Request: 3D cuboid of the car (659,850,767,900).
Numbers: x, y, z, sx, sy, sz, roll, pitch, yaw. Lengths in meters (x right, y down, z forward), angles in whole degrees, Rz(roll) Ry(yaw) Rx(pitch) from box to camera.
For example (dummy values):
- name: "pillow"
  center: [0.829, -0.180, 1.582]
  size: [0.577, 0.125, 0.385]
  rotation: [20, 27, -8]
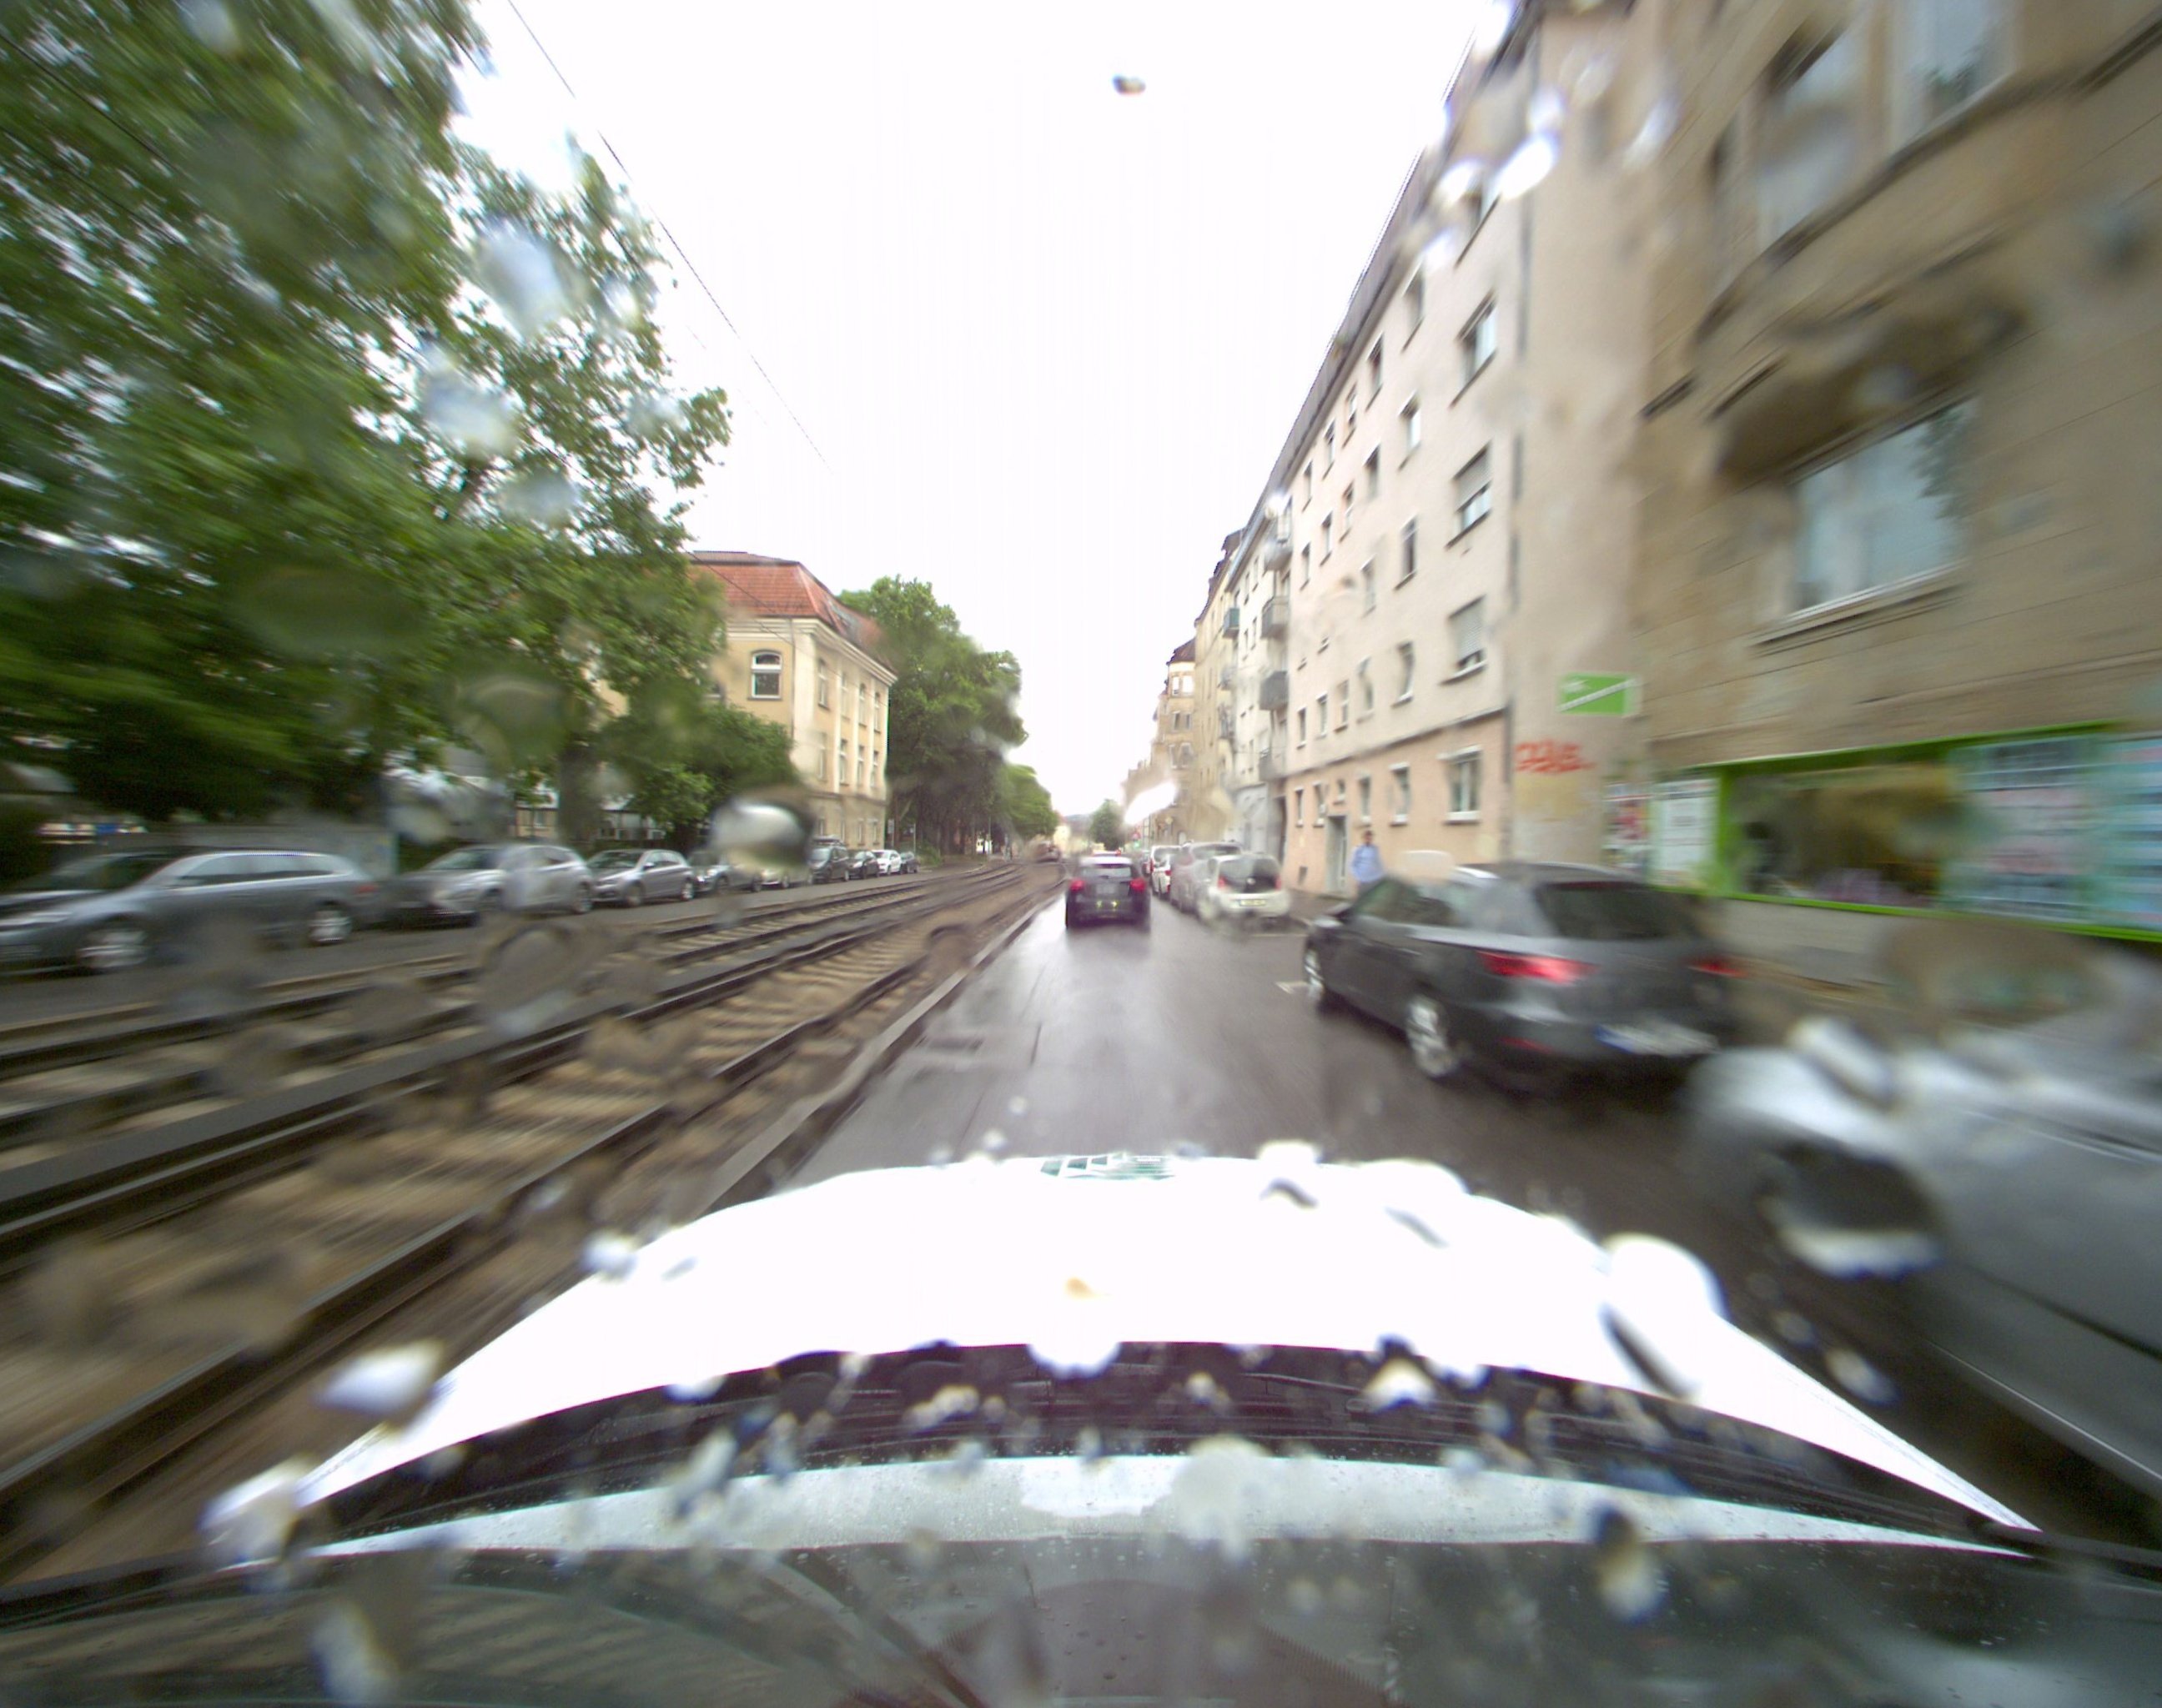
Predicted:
- name: "car"
  center: [-11.594, 0.605, 25.934]
  size: [1.534, 1.413, 3.953]
  rotation: [-2, 0, 1]

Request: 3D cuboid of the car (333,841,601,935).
- name: "car"
  center: [-11.746, 0.569, 16.076]
  size: [1.748, 1.536, 4.543]
  rotation: [-2, 0, 1]

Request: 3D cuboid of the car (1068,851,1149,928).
- name: "car"
  center: [0.578, 0.690, 17.766]
  size: [1.574, 1.504, 3.575]
  rotation: [0, 0, 1]

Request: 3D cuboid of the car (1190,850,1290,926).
- name: "car"
  center: [3.336, 0.661, 17.632]
  size: [1.564, 1.462, 3.601]
  rotation: [0, 0, 2]

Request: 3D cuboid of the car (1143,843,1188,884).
- name: "car"
  center: [3.755, 0.380, 36.687]
  size: [1.821, 1.750, 4.471]
  rotation: [0, 0, 3]

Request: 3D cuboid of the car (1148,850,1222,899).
- name: "car"
  center: [3.343, 0.604, 26.957]
  size: [1.865, 1.455, 4.903]
  rotation: [0, 0, 0]

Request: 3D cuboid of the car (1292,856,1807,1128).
- name: "car"
  center: [3.085, 0.747, 6.542]
  size: [1.664, 1.410, 4.311]
  rotation: [-1, 0, 0]

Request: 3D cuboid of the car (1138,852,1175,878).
- name: "car"
  center: [4.095, 0.567, 44.798]
  size: [1.711, 1.347, 4.462]
  rotation: [1, 0, 1]

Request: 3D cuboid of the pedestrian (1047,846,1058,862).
- name: "pedestrian"
  center: [-3.100, 0.017, 87.937]
  size: [1.050, 1.718, 0.905]
  rotation: [1, 0, 3]

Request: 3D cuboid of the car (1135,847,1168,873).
- name: "car"
  center: [4.747, 0.406, 55.426]
  size: [1.761, 1.668, 4.331]
  rotation: [1, 0, -1]

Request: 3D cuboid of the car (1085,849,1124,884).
- name: "car"
  center: [1.111, 0.557, 38.367]
  size: [1.778, 1.581, 4.002]
  rotation: [0, 0, 2]

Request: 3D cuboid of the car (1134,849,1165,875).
- name: "car"
  center: [4.158, 0.447, 49.948]
  size: [1.687, 1.529, 4.002]
  rotation: [0, 0, 2]

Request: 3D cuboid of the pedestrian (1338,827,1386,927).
- name: "pedestrian"
  center: [5.120, 0.402, 14.853]
  size: [0.605, 1.763, 0.688]
  rotation: [-2, 0, 0]

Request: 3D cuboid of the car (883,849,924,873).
- name: "car"
  center: [-10.937, 0.411, 50.464]
  size: [1.608, 1.429, 3.853]
  rotation: [0, 1, 1]

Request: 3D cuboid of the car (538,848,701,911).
- name: "car"
  center: [-11.725, 0.594, 21.066]
  size: [1.748, 1.413, 4.154]
  rotation: [-2, 0, 1]

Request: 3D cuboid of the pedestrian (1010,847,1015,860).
- name: "pedestrian"
  center: [-9.395, -0.112, 111.736]
  size: [0.532, 1.754, 0.607]
  rotation: [2, 0, 2]

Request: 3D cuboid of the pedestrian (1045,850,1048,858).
- name: "pedestrian"
  center: [-7.190, -0.060, 168.422]
  size: [0.516, 1.717, 0.551]
  rotation: [2, 0, 1]

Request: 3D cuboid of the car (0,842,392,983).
- name: "car"
  center: [-11.932, 0.623, 10.710]
  size: [1.843, 1.464, 4.549]
  rotation: [-2, 0, 0]

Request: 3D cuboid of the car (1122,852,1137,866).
- name: "car"
  center: [6.142, 0.635, 104.094]
  size: [1.820, 1.618, 3.866]
  rotation: [-1, 1, 2]

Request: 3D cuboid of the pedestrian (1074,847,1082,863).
- name: "pedestrian"
  center: [-0.302, 0.111, 88.782]
  size: [0.803, 1.633, 0.892]
  rotation: [-1, 0, 2]

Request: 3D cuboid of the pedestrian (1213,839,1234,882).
- name: "pedestrian"
  center: [6.282, 0.274, 35.966]
  size: [0.743, 1.833, 1.039]
  rotation: [-2, 0, 3]

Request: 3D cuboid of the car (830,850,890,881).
- name: "car"
  center: [-11.071, 0.532, 41.056]
  size: [1.668, 1.413, 4.013]
  rotation: [-2, 0, 3]

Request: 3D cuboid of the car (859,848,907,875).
- name: "car"
  center: [-11.085, 0.399, 45.731]
  size: [1.494, 1.391, 3.990]
  rotation: [-2, 0, 3]

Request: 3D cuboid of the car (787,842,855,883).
- name: "car"
  center: [-11.244, 0.347, 35.513]
  size: [1.571, 1.643, 4.072]
  rotation: [-2, 0, 1]

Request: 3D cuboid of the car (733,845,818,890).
- name: "car"
  center: [-11.417, 0.464, 30.702]
  size: [1.534, 1.505, 4.155]
  rotation: [-2, 0, 1]

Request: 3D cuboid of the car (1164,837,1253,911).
- name: "car"
  center: [3.327, 0.481, 22.019]
  size: [1.784, 1.765, 4.213]
  rotation: [-1, 0, 1]

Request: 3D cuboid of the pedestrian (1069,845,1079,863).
- name: "pedestrian"
  center: [-0.832, 0.028, 93.795]
  size: [1.135, 1.998, 1.171]
  rotation: [-1, 0, -3]

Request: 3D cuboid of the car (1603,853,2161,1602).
- name: "car"
  center: [2.928, 0.733, 1.312]
  size: [1.662, 1.434, 3.956]
  rotation: [-1, 0, 0]
